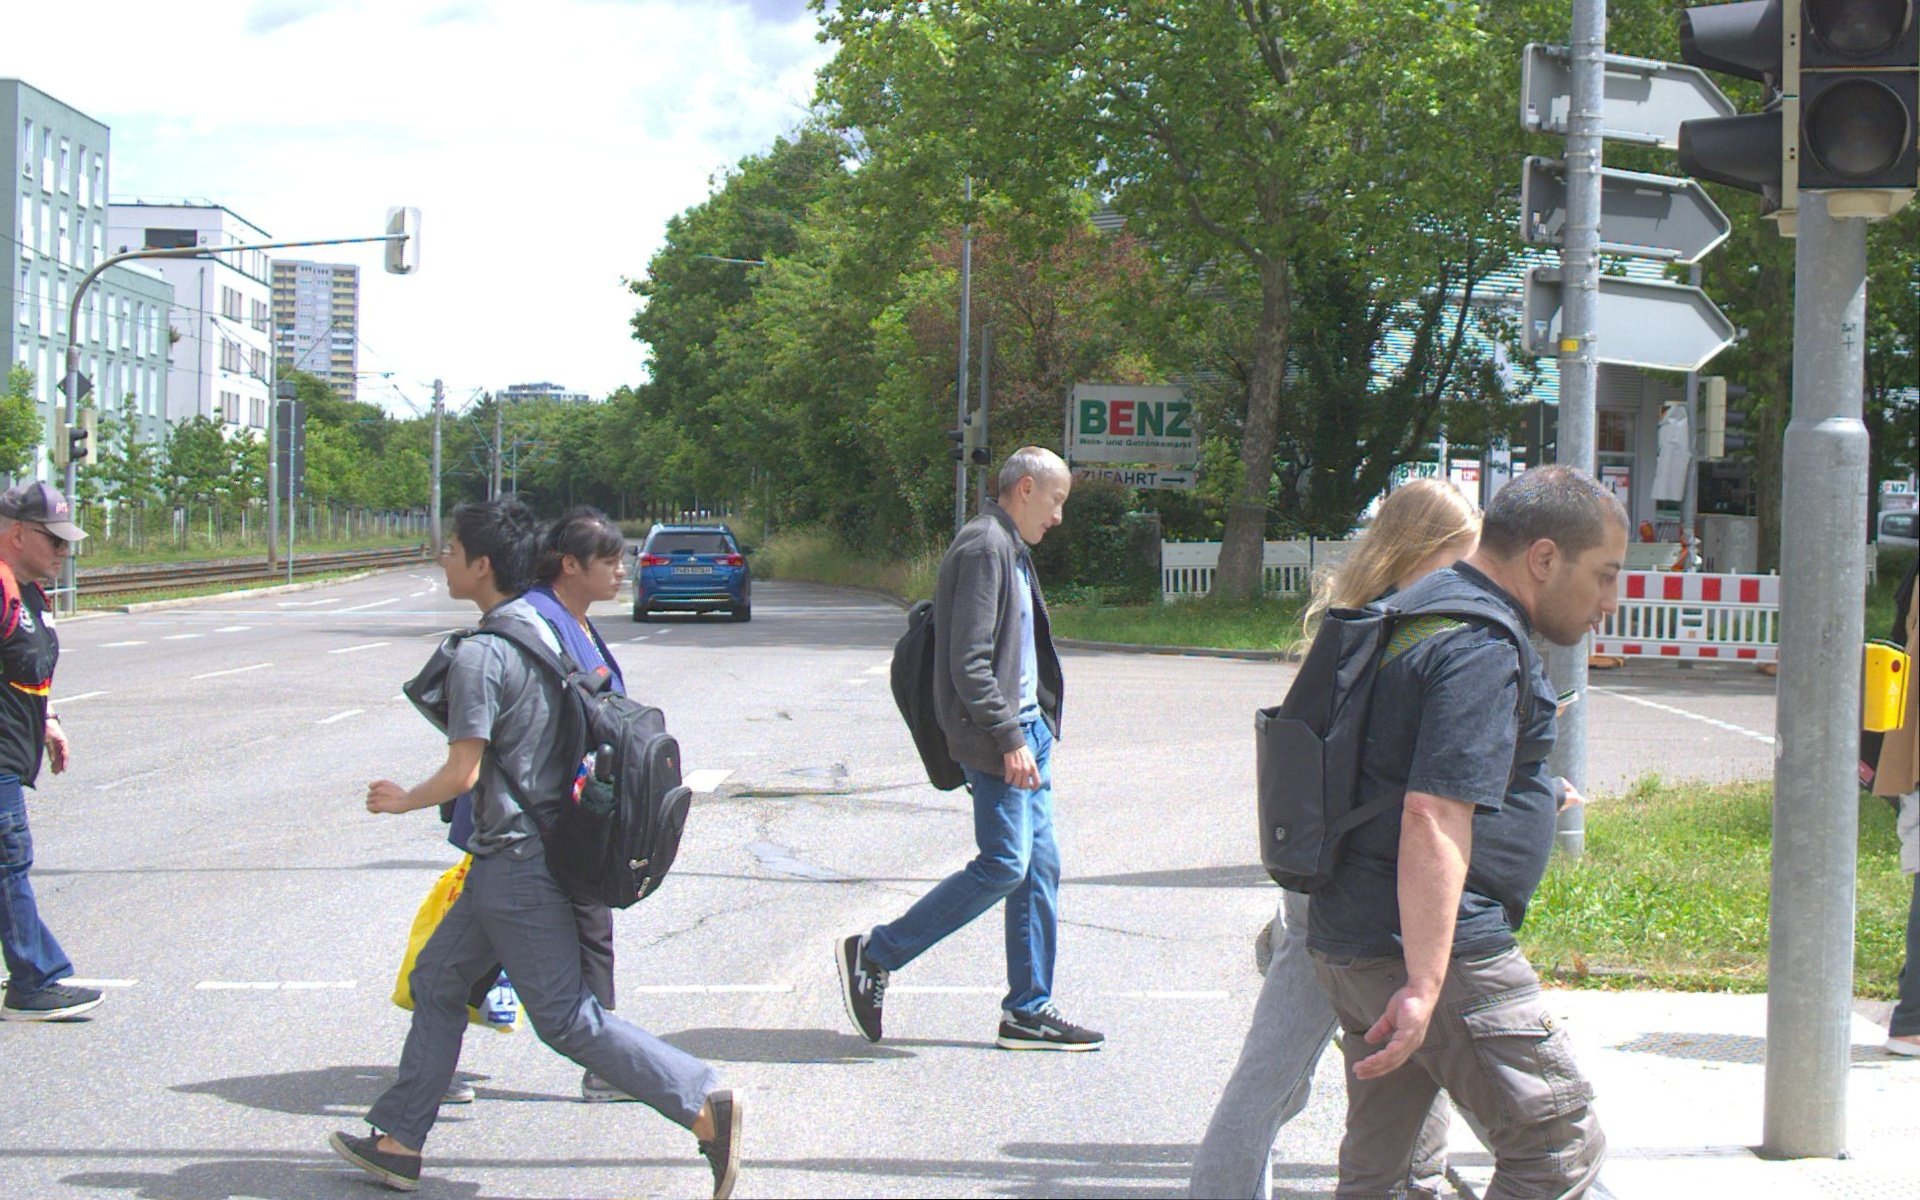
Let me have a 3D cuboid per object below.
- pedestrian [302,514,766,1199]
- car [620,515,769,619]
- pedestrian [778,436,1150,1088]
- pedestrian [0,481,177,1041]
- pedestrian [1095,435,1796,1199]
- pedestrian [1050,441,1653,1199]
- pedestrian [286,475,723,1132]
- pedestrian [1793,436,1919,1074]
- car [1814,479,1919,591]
[{"bbox_3d":[-0.920,0.590,7.541,0.946,1.547,0.843,0,1,-5],"label":"pedestrian"},{"bbox_3d":[-3.931,-0.528,51.559,1.982,1.481,4.491,1,1,-1],"label":"car"},{"bbox_3d":[0.032,0.430,9.850,1.002,1.767,0.929,1,1,3],"label":"pedestrian"},{"bbox_3d":[-2.888,0.445,10.230,0.892,1.591,0.908,1,1,1],"label":"pedestrian"},{"bbox_3d":[0.715,0.577,5.403,0.958,1.642,0.880,1,1,0],"label":"pedestrian"},{"bbox_3d":[0.687,0.540,6.389,1.020,1.642,0.929,1,1,2],"label":"pedestrian"},{"bbox_3d":[-1.157,0.486,8.920,0.913,1.601,0.929,1,1,7],"label":"pedestrian"},{"bbox_3d":[2.791,0.416,9.740,0.782,1.737,0.828,1,1,16],"label":"pedestrian"},{"bbox_3d":[17.744,-1.186,62.557,1.993,2.007,4.000,0,2,-32],"label":"car"}]
